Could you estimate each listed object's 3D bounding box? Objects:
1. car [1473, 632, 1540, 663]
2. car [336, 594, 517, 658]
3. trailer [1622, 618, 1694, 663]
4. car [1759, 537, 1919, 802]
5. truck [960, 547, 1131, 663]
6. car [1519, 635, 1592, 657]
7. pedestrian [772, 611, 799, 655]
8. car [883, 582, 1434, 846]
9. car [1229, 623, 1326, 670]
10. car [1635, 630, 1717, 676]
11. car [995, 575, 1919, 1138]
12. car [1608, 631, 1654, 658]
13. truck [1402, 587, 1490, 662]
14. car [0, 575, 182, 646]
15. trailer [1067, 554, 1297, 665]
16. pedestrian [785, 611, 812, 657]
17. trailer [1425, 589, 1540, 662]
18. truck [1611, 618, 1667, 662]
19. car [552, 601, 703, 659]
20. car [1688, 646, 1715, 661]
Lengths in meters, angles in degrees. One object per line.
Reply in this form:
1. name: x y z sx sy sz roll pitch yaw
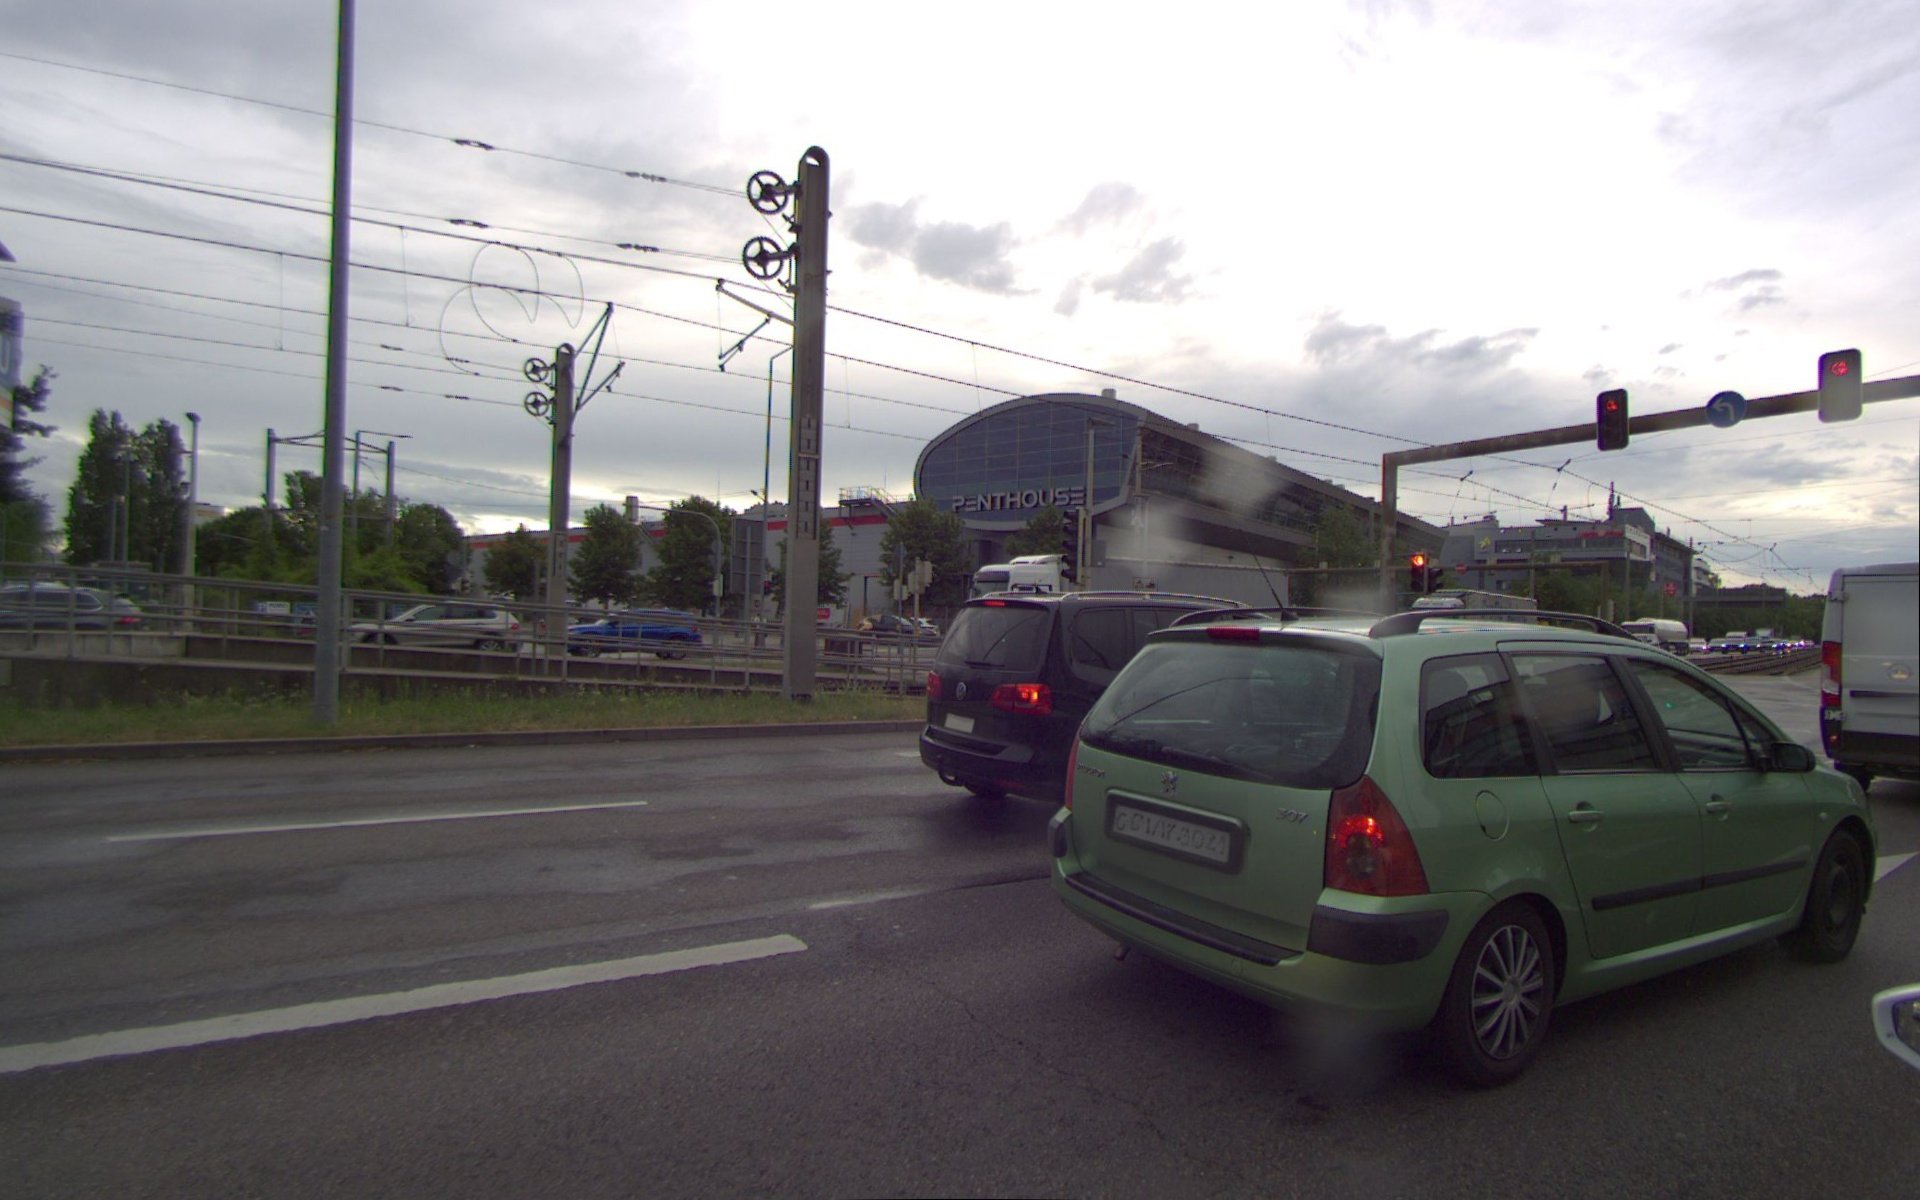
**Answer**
1. car: 31.133 2.701 57.169 4.533 1.576 1.885 3 0 -42
2. car: -14.471 0.716 27.322 4.112 1.481 1.727 4 0 -35
3. trailer: 65.648 3.882 94.343 11.136 3.905 2.703 3 -3 -39
4. car: 10.415 0.728 10.252 4.862 2.324 2.426 3 0 -38
5. truck: 3.265 0.263 37.789 5.926 4.049 2.814 2 -1 -34
6. car: 47.161 3.637 79.557 1.984 1.630 4.591 3 -2 -40
7. pedestrian: -6.939 1.325 39.967 0.731 1.685 0.721 3 0 -33
8. car: 1.656 0.785 8.012 4.142 1.613 1.719 3 1 -29
9. car: 12.922 1.908 40.836 4.065 1.674 1.870 3 0 -41
10. car: 34.735 2.565 48.694 4.301 2.040 1.762 2 1 -34
11. car: 2.469 0.780 4.526 4.353 1.488 1.686 3 0 -31
12. car: 53.060 3.487 79.398 4.874 1.862 1.974 1 2 -44
13. truck: 28.872 1.527 59.520 6.144 4.184 2.641 4 -2 -43
14. car: -19.086 0.193 20.874 4.366 1.281 1.897 4 0 -32
15. trailer: 9.642 0.540 42.424 11.336 4.161 2.774 2 -1 -37
16. pedestrian: -6.328 1.324 39.280 0.731 1.728 0.721 3 0 -33
17. trailer: 33.530 1.773 64.045 12.661 4.178 2.624 4 -2 -44
18. truck: 61.545 3.657 90.970 5.365 3.855 2.725 3 -3 -38
19. car: -10.906 1.008 33.056 4.277 1.650 1.980 4 0 -35
20. car: 78.187 5.600 105.855 2.132 1.525 4.283 0 -2 39
